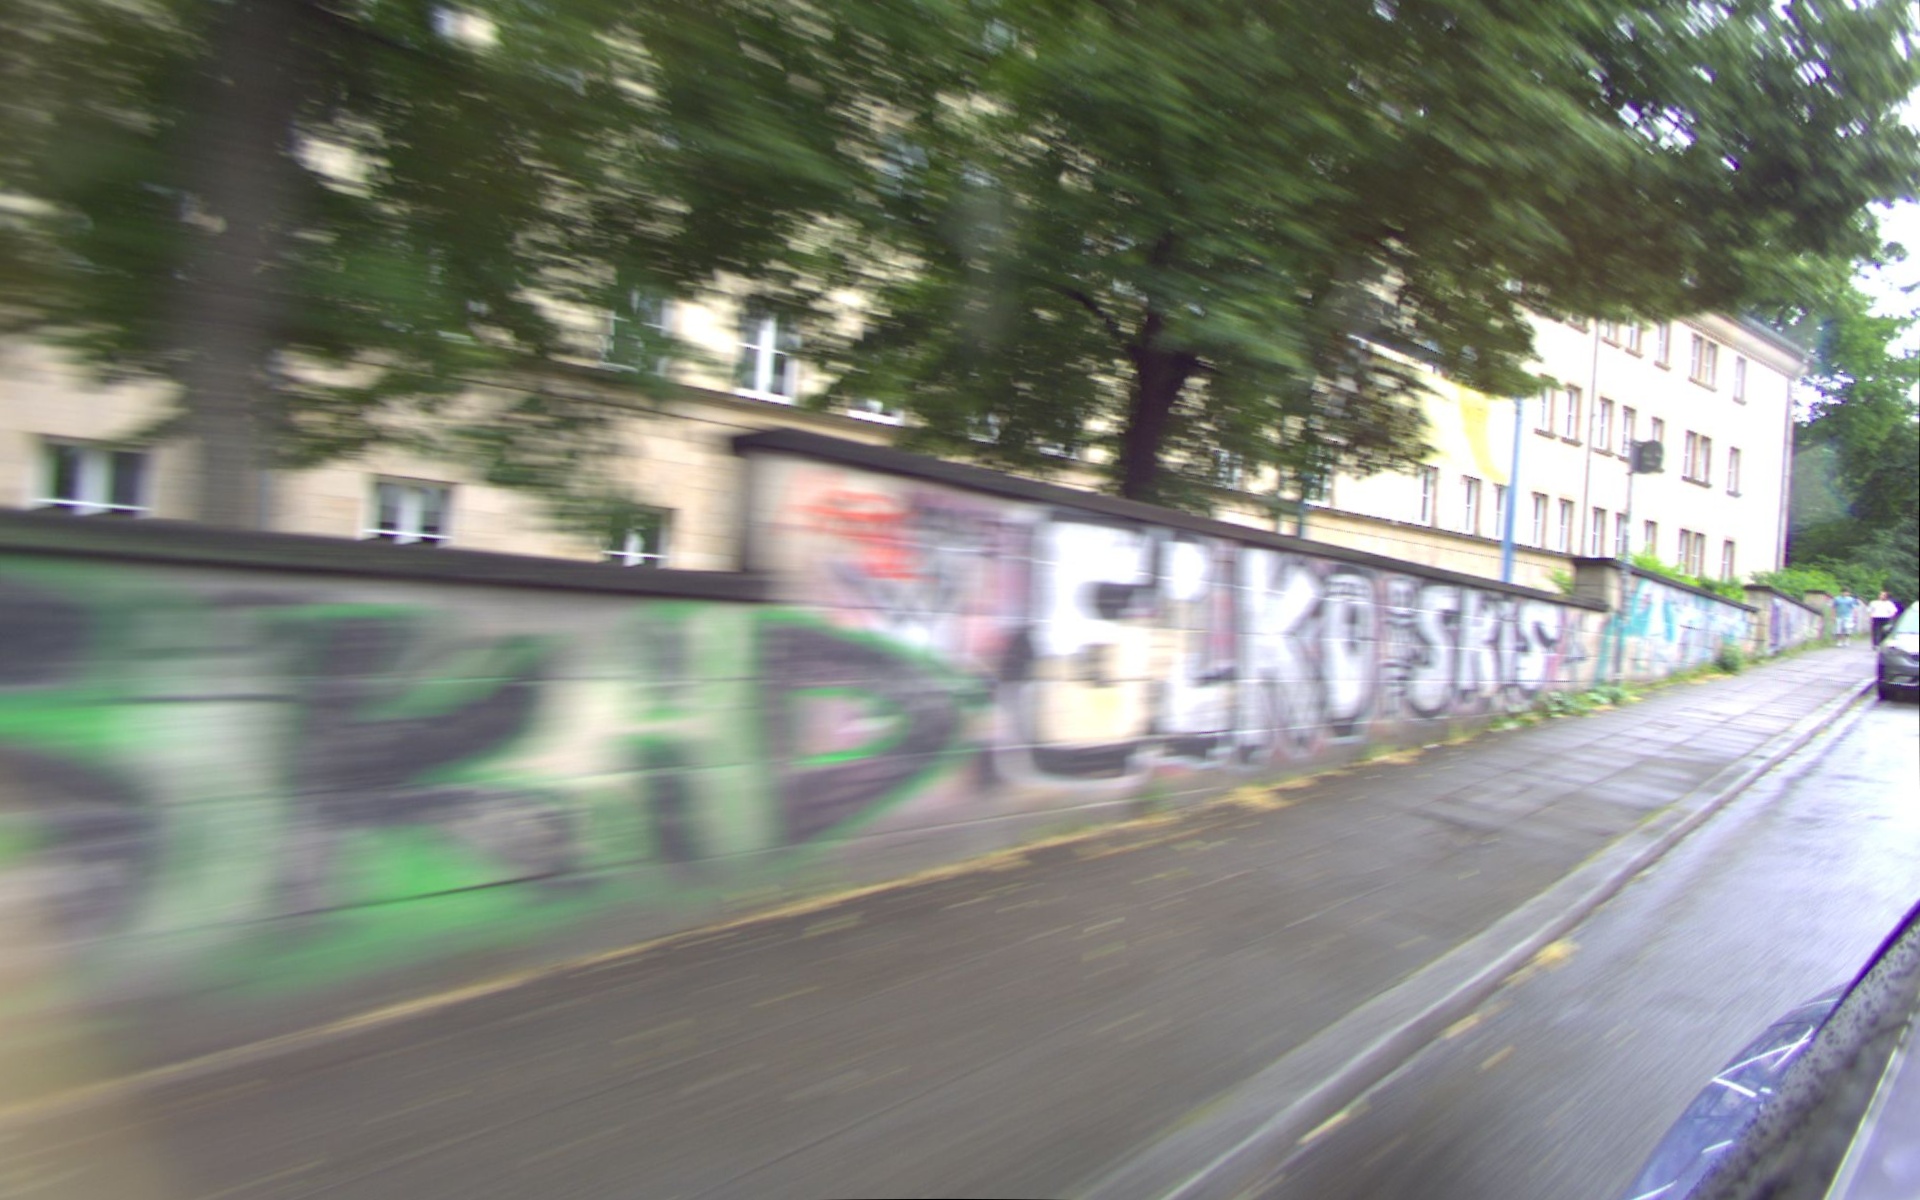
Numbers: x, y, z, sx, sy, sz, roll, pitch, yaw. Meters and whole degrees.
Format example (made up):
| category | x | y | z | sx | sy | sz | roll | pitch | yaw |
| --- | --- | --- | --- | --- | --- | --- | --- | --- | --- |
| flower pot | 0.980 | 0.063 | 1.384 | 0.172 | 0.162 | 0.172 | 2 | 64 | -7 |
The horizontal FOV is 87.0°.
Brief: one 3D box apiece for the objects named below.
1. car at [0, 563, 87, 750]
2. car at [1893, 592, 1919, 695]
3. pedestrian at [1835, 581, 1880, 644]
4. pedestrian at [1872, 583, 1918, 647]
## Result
| category | x | y | z | sx | sy | sz | roll | pitch | yaw |
| --- | --- | --- | --- | --- | --- | --- | --- | --- | --- |
| car | -9.751 | 0.403 | 9.784 | 1.599 | 1.516 | 3.947 | 4 | 0 | -36 |
| car | 16.372 | 0.688 | 16.311 | 4.040 | 1.543 | 1.667 | 0 | 1 | -43 |
| pedestrian | 26.260 | 0.353 | 29.620 | 0.724 | 1.776 | 0.721 | 1 | 2 | -32 |
| pedestrian | 26.666 | 0.417 | 28.864 | 0.724 | 1.776 | 0.721 | 1 | 2 | -32 |
